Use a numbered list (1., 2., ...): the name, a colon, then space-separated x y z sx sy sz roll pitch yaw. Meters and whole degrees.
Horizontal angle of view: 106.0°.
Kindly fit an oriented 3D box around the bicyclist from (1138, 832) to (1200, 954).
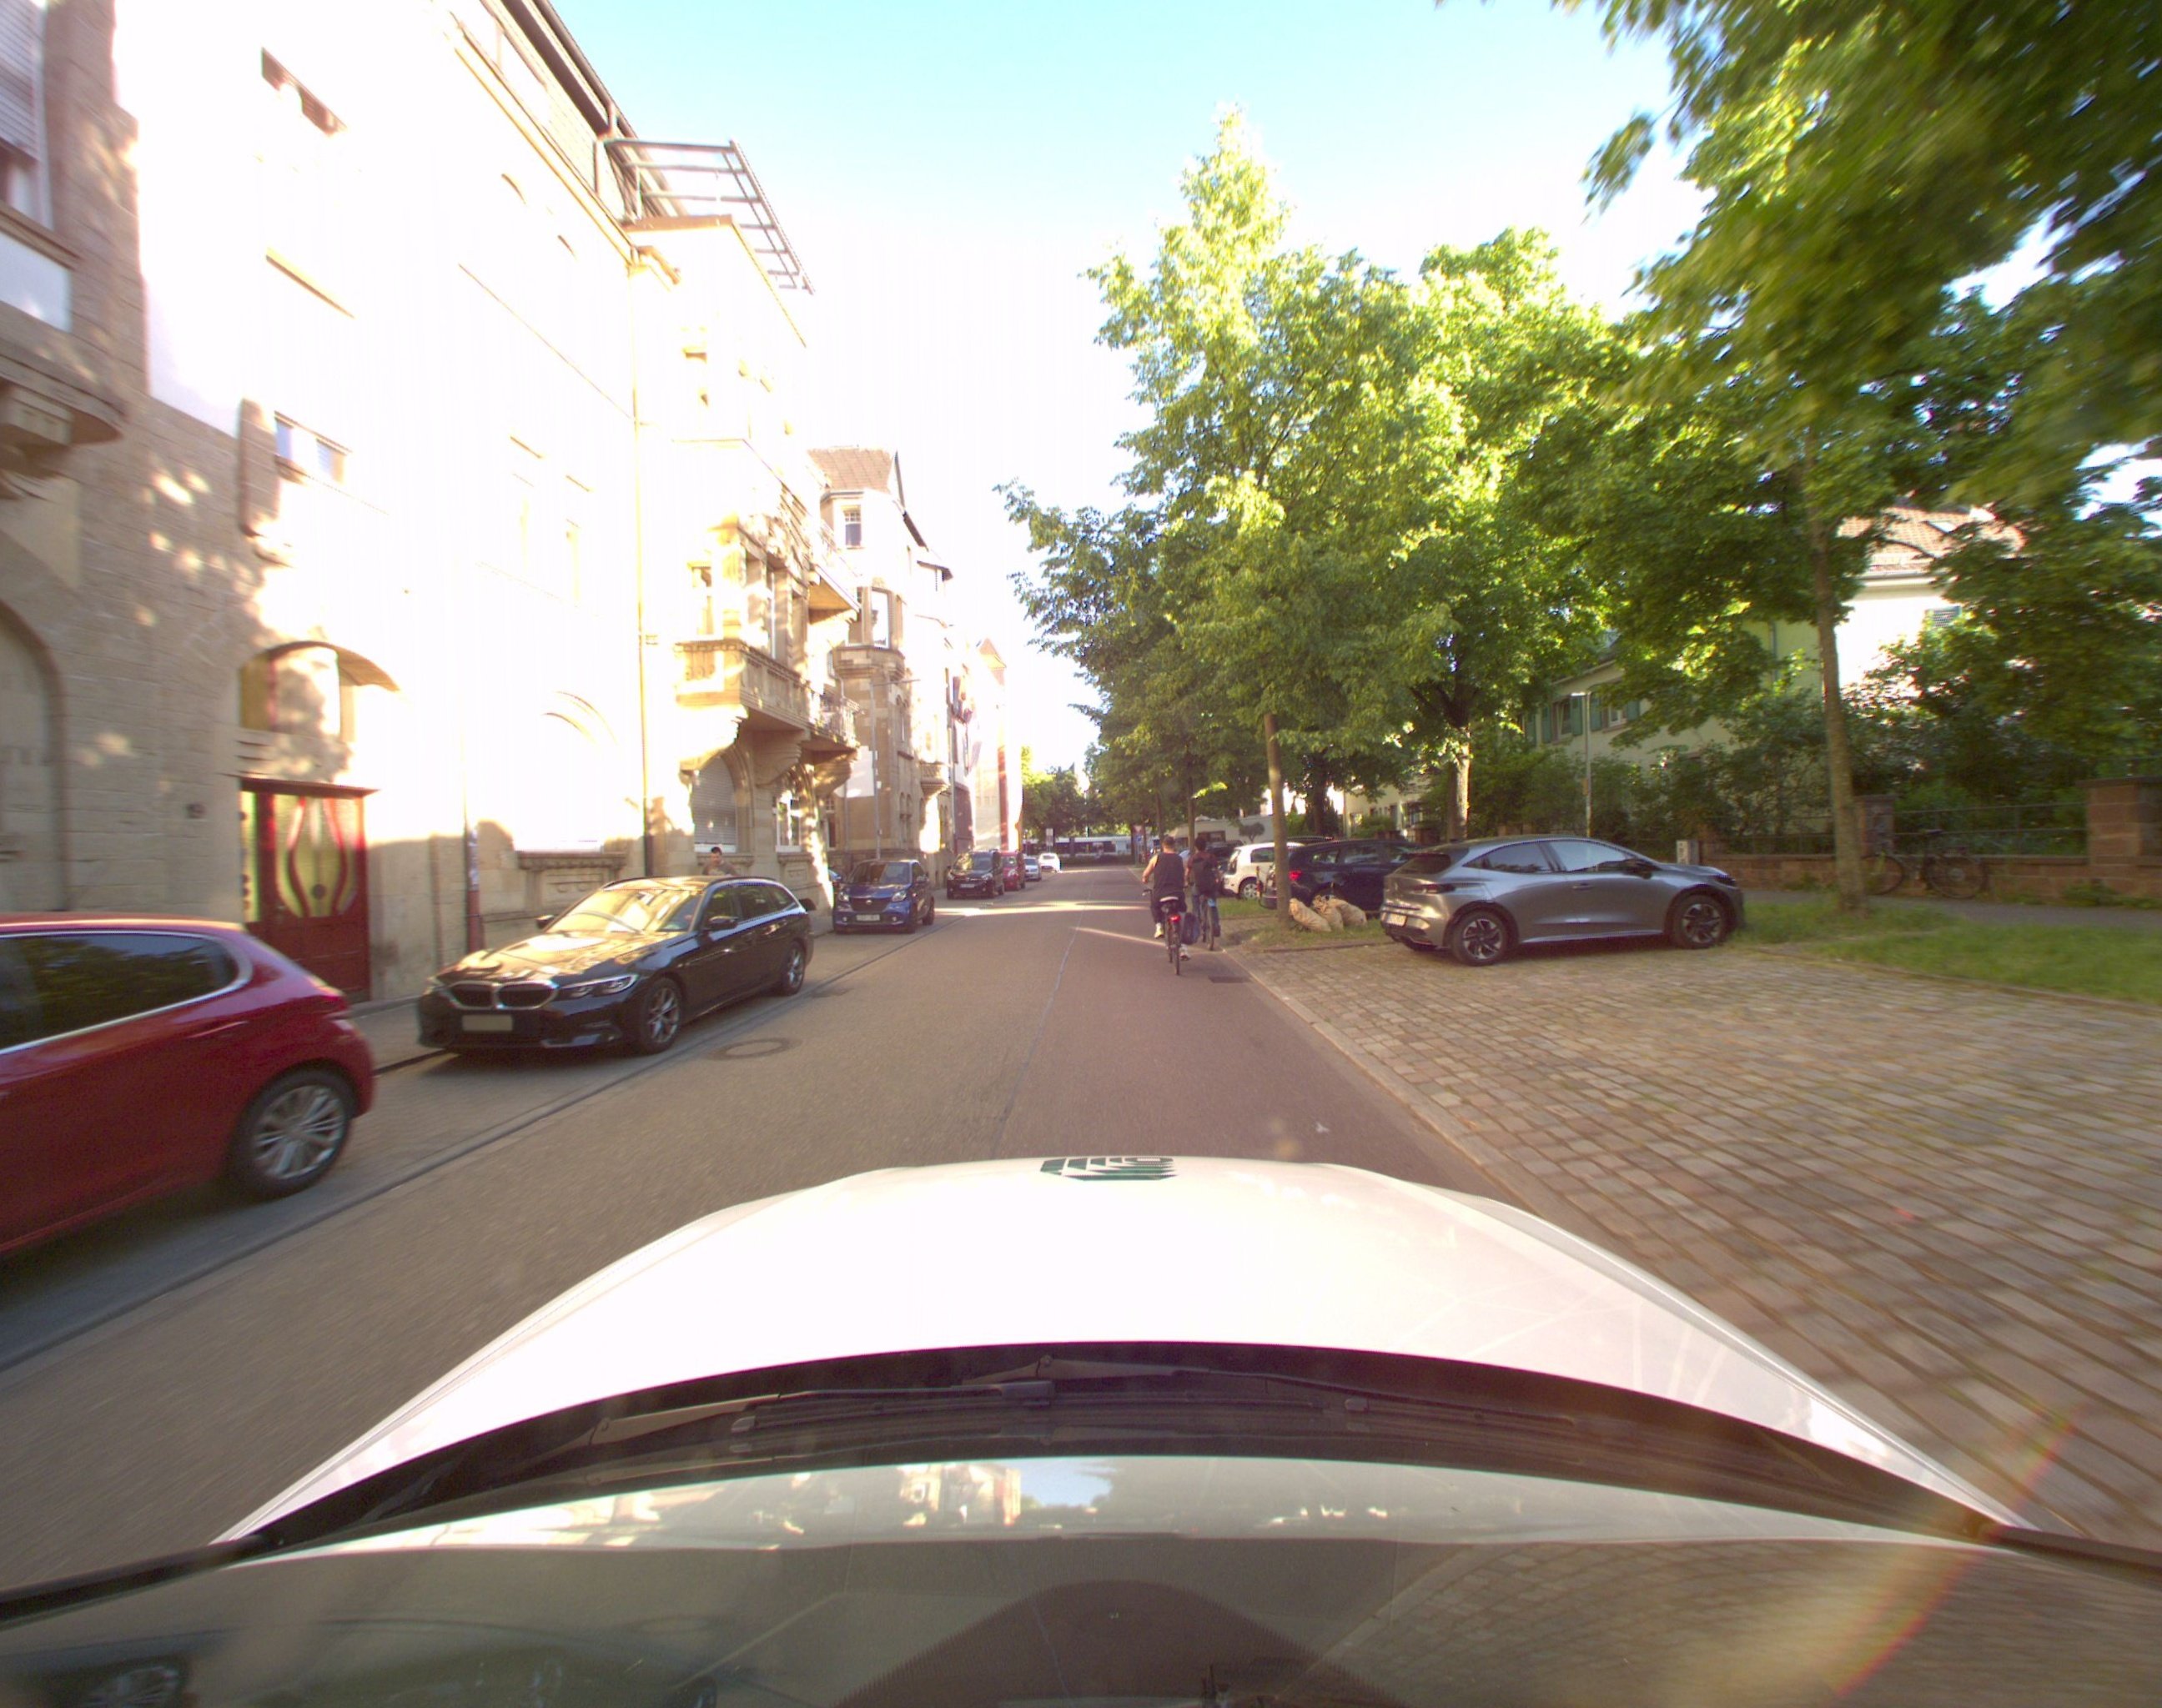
1. bicyclist: 1.158 0.503 10.847 0.727 1.548 0.884 0 -1 0

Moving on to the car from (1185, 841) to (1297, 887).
1. car: 6.376 0.401 32.770 4.126 1.600 1.701 -3 -2 -1

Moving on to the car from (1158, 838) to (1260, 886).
1. car: 5.514 0.350 35.469 4.070 1.650 1.640 -5 0 -1

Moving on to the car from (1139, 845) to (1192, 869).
1. car: 6.712 0.251 65.029 3.975 1.803 1.833 -1 -1 -1

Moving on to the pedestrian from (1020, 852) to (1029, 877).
1. pedestrian: -4.056 0.726 58.360 0.607 1.762 0.432 -1 -1 2

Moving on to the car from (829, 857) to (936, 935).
1. car: -4.207 0.852 17.638 1.590 1.489 2.736 1 1 0

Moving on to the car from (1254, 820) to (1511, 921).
1. car: 5.557 0.323 15.439 4.205 1.600 1.692 -3 -2 3

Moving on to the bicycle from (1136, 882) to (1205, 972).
1. bicycle: 1.160 0.925 10.960 0.735 1.054 1.956 0 -1 1

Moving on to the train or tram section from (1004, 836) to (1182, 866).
1. train or tram section: 1.885 -0.490 108.663 23.891 3.708 4.256 -1 -1 -21

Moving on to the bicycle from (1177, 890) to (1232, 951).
1. bicycle: 1.959 1.044 13.164 0.631 0.799 1.833 -3 0 2

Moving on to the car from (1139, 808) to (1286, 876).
1. car: 6.778 -0.602 42.710 7.127 2.978 2.463 -4 0 -1

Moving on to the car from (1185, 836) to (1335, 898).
1. car: 5.285 0.410 24.405 4.121 1.600 1.704 -3 -2 3

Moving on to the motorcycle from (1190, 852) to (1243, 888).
1. motorcycle: 4.617 0.544 27.782 1.587 1.141 0.677 -3 0 35

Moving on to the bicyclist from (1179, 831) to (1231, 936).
1. bicyclist: 1.990 0.463 13.167 0.686 1.626 0.999 -1 0 2

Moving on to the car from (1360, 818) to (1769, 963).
1. car: 5.748 0.402 9.994 4.022 1.454 1.689 -2 0 -3

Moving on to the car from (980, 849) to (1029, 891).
1. car: -3.497 0.684 37.784 1.682 1.825 4.275 0 1 2

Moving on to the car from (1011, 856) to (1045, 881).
1. car: -3.104 0.845 48.301 1.577 1.343 4.134 0 1 2

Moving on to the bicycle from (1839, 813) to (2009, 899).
1. bicycle: 12.192 0.032 11.867 0.562 1.128 1.820 -4 -1 2

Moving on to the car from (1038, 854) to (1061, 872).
1. car: -2.529 0.722 66.205 1.577 1.375 4.134 0 1 2

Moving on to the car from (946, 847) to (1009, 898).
1. car: -3.851 0.631 30.943 1.634 1.783 4.357 0 1 2

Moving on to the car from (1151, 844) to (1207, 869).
1. car: 7.291 0.202 60.882 3.975 1.803 1.833 -1 -1 -1

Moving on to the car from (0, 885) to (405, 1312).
1. car: -4.701 0.934 2.752 1.624 1.453 3.836 -1 0 -1

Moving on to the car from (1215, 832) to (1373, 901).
1. car: 5.594 0.353 21.755 3.757 1.600 1.692 -3 -2 3

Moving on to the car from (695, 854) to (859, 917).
1. car: -8.971 0.900 24.263 4.185 1.668 1.718 -2 0 0

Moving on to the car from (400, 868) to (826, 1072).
1. car: -4.316 0.933 8.537 1.669 1.430 4.553 0 1 2

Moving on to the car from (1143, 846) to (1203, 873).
1. car: 6.394 0.377 57.143 3.975 1.803 1.833 -1 -1 -1

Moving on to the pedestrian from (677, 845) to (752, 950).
1. pedestrian: -6.311 0.735 14.053 0.934 1.742 0.735 -1 -1 2
